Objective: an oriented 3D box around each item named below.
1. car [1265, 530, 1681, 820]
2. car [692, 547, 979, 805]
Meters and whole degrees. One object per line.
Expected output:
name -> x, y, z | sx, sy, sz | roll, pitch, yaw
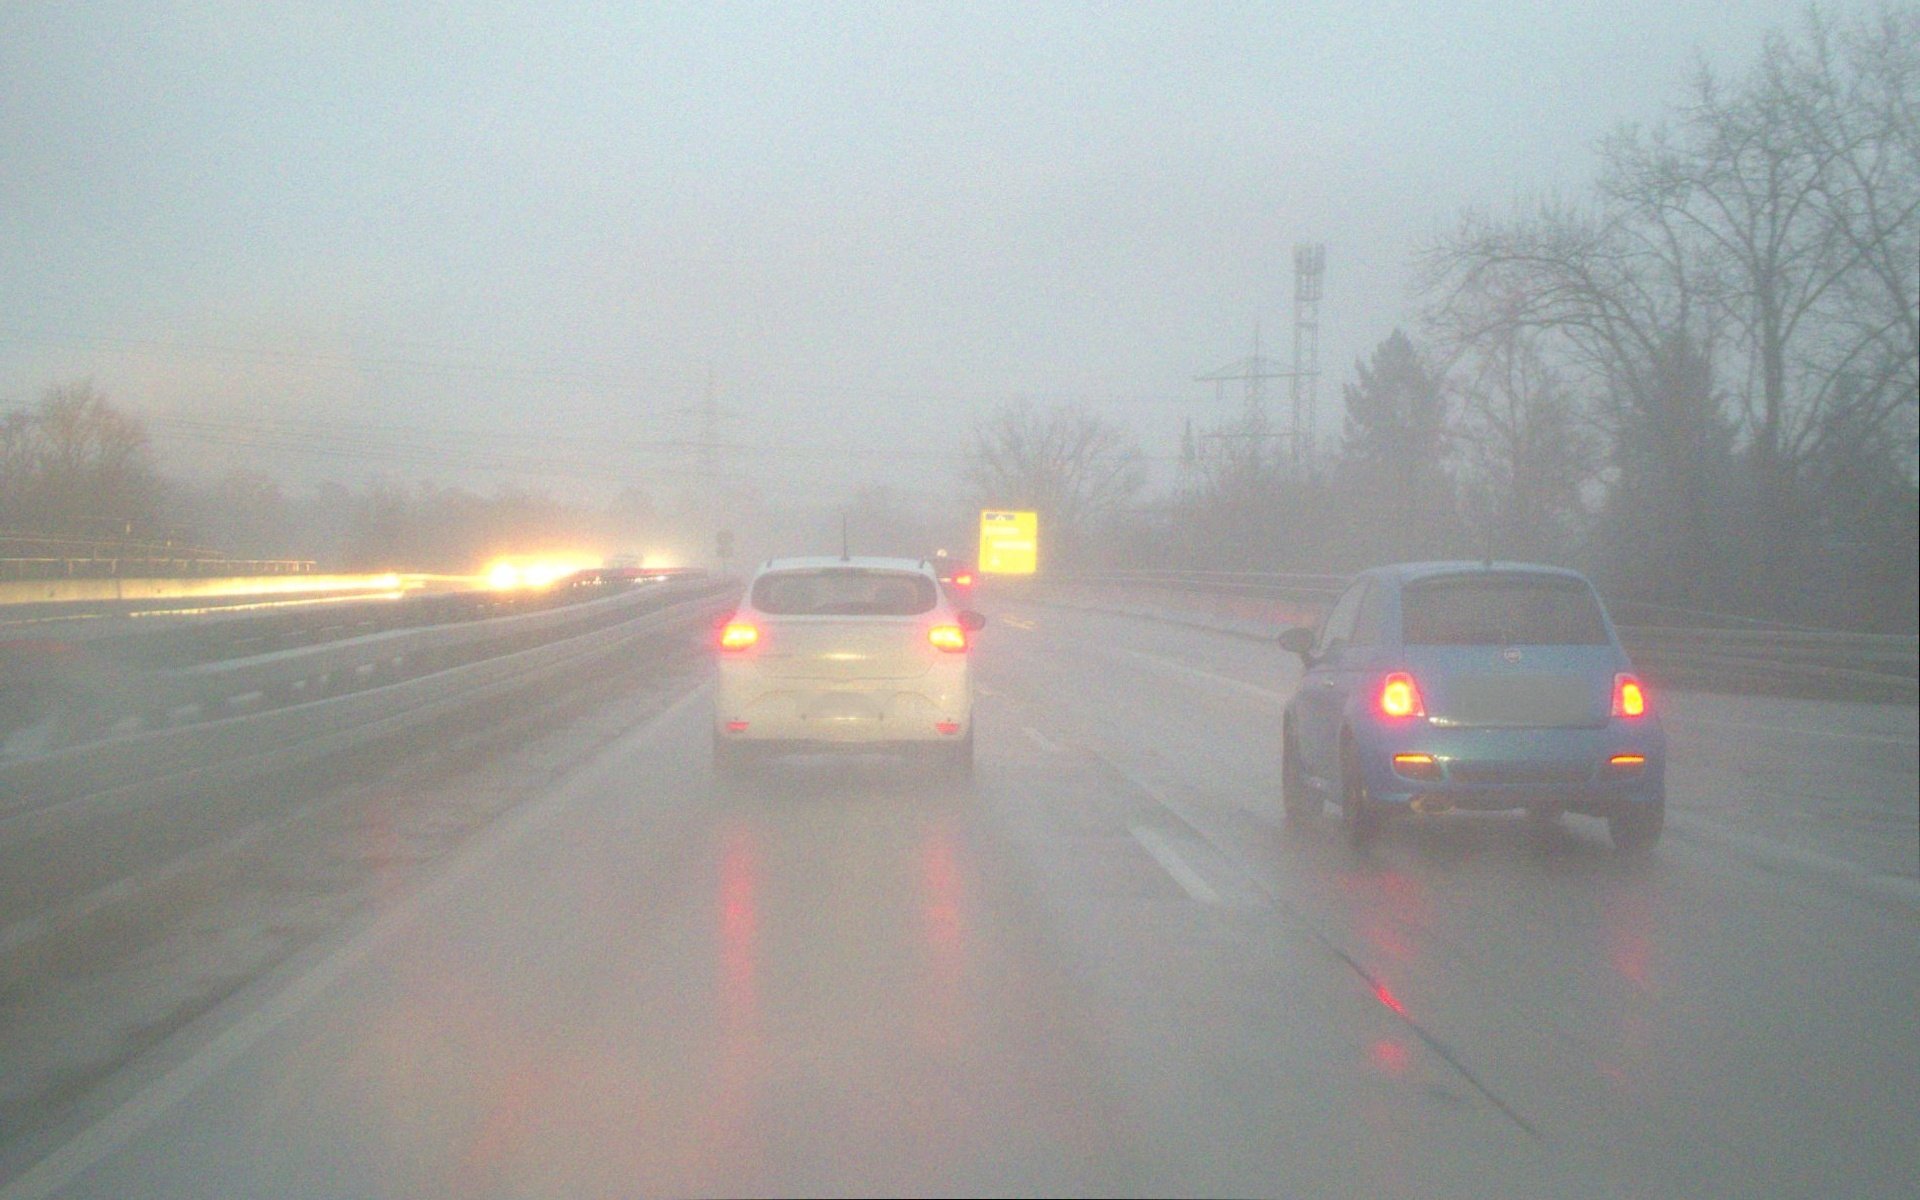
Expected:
car -> 2.809, 0.342, 19.675 | 1.845, 1.448, 4.149 | 1, 1, 2
car -> -0.880, 0.467, 24.421 | 1.845, 1.630, 3.768 | -1, 1, -2
